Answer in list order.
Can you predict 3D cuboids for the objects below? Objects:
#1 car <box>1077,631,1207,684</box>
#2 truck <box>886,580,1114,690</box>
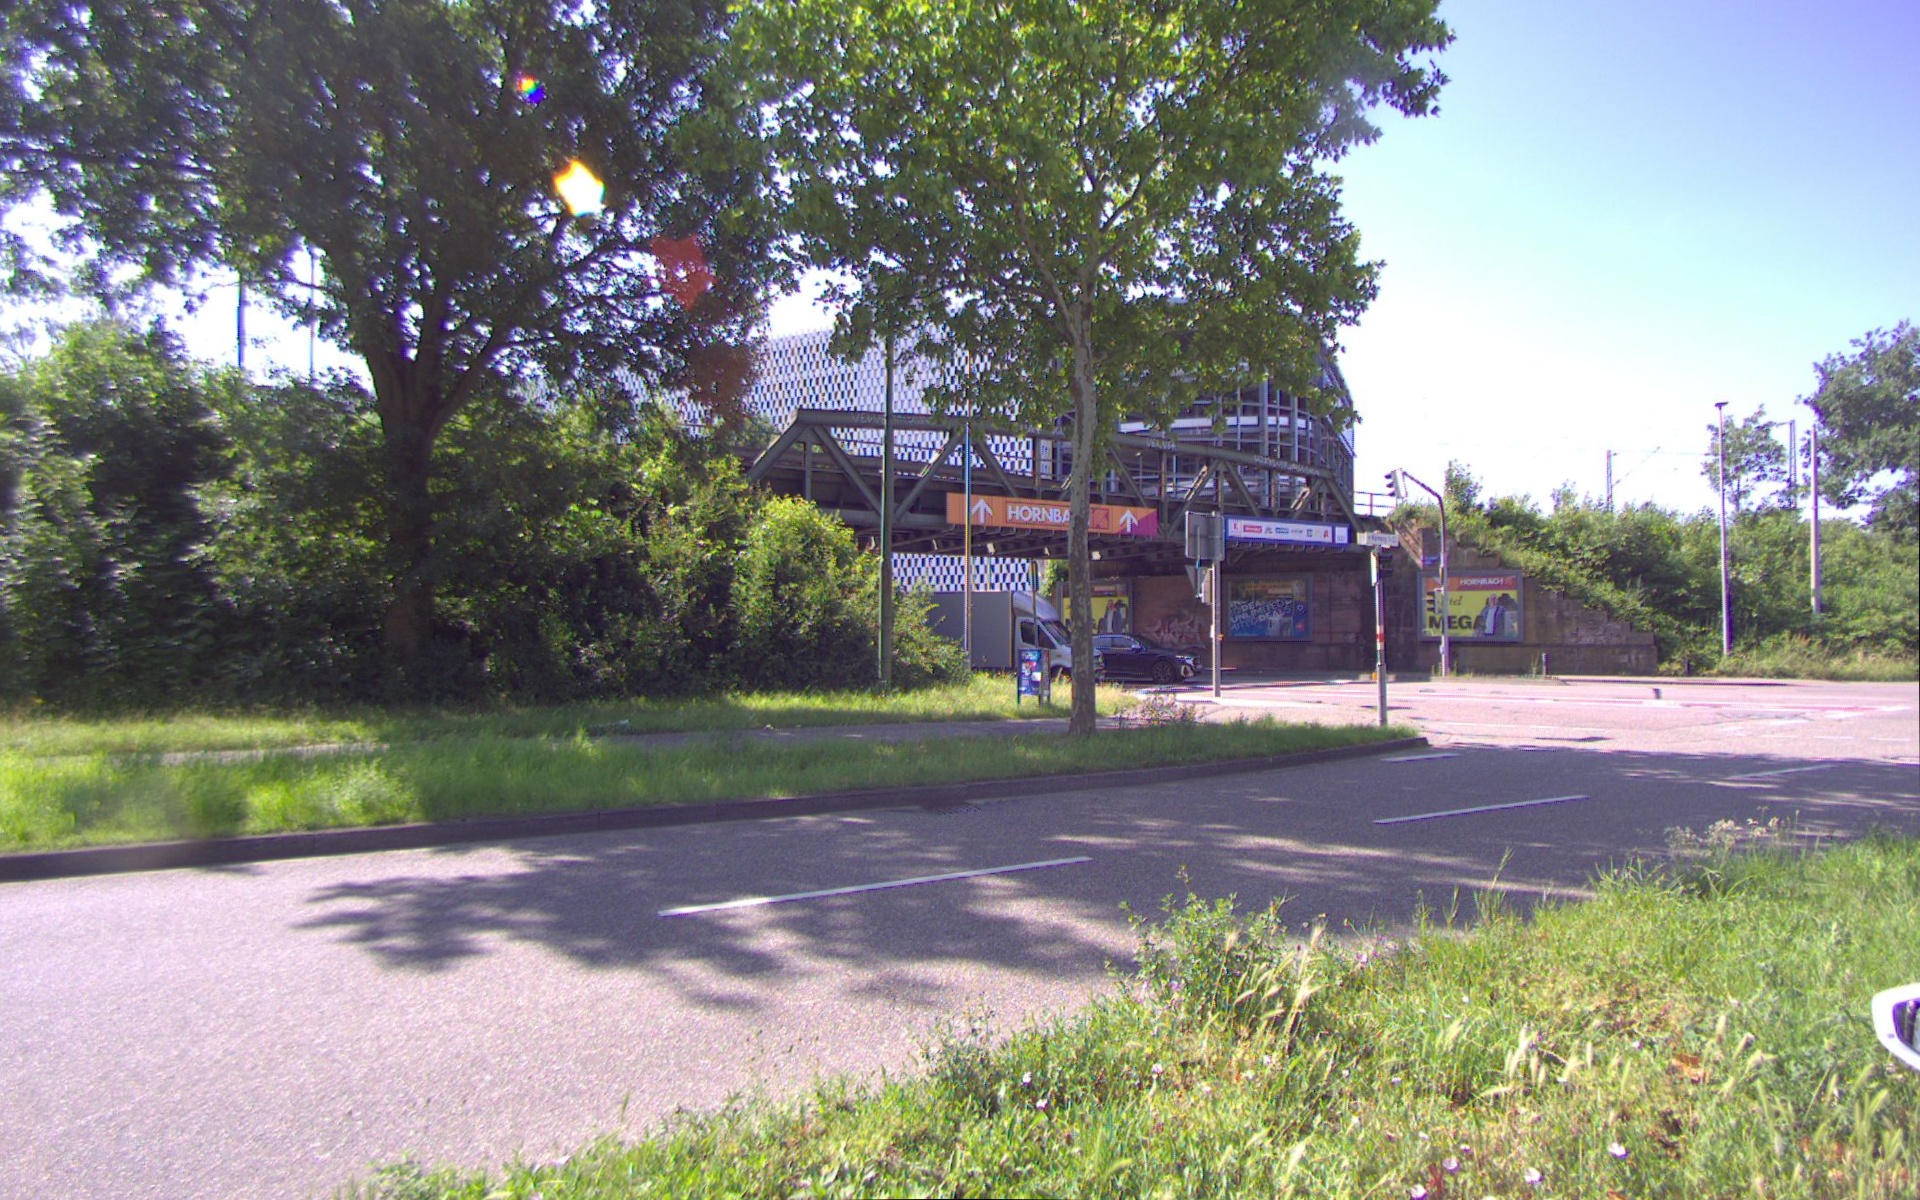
[{"bbox_3d":[6.106,1.927,33.731,3.926,1.668,1.902,-2,-2,27],"label":"car"},{"bbox_3d":[1.180,1.138,31.234,6.739,3.146,2.216,-2,-2,27],"label":"truck"}]
